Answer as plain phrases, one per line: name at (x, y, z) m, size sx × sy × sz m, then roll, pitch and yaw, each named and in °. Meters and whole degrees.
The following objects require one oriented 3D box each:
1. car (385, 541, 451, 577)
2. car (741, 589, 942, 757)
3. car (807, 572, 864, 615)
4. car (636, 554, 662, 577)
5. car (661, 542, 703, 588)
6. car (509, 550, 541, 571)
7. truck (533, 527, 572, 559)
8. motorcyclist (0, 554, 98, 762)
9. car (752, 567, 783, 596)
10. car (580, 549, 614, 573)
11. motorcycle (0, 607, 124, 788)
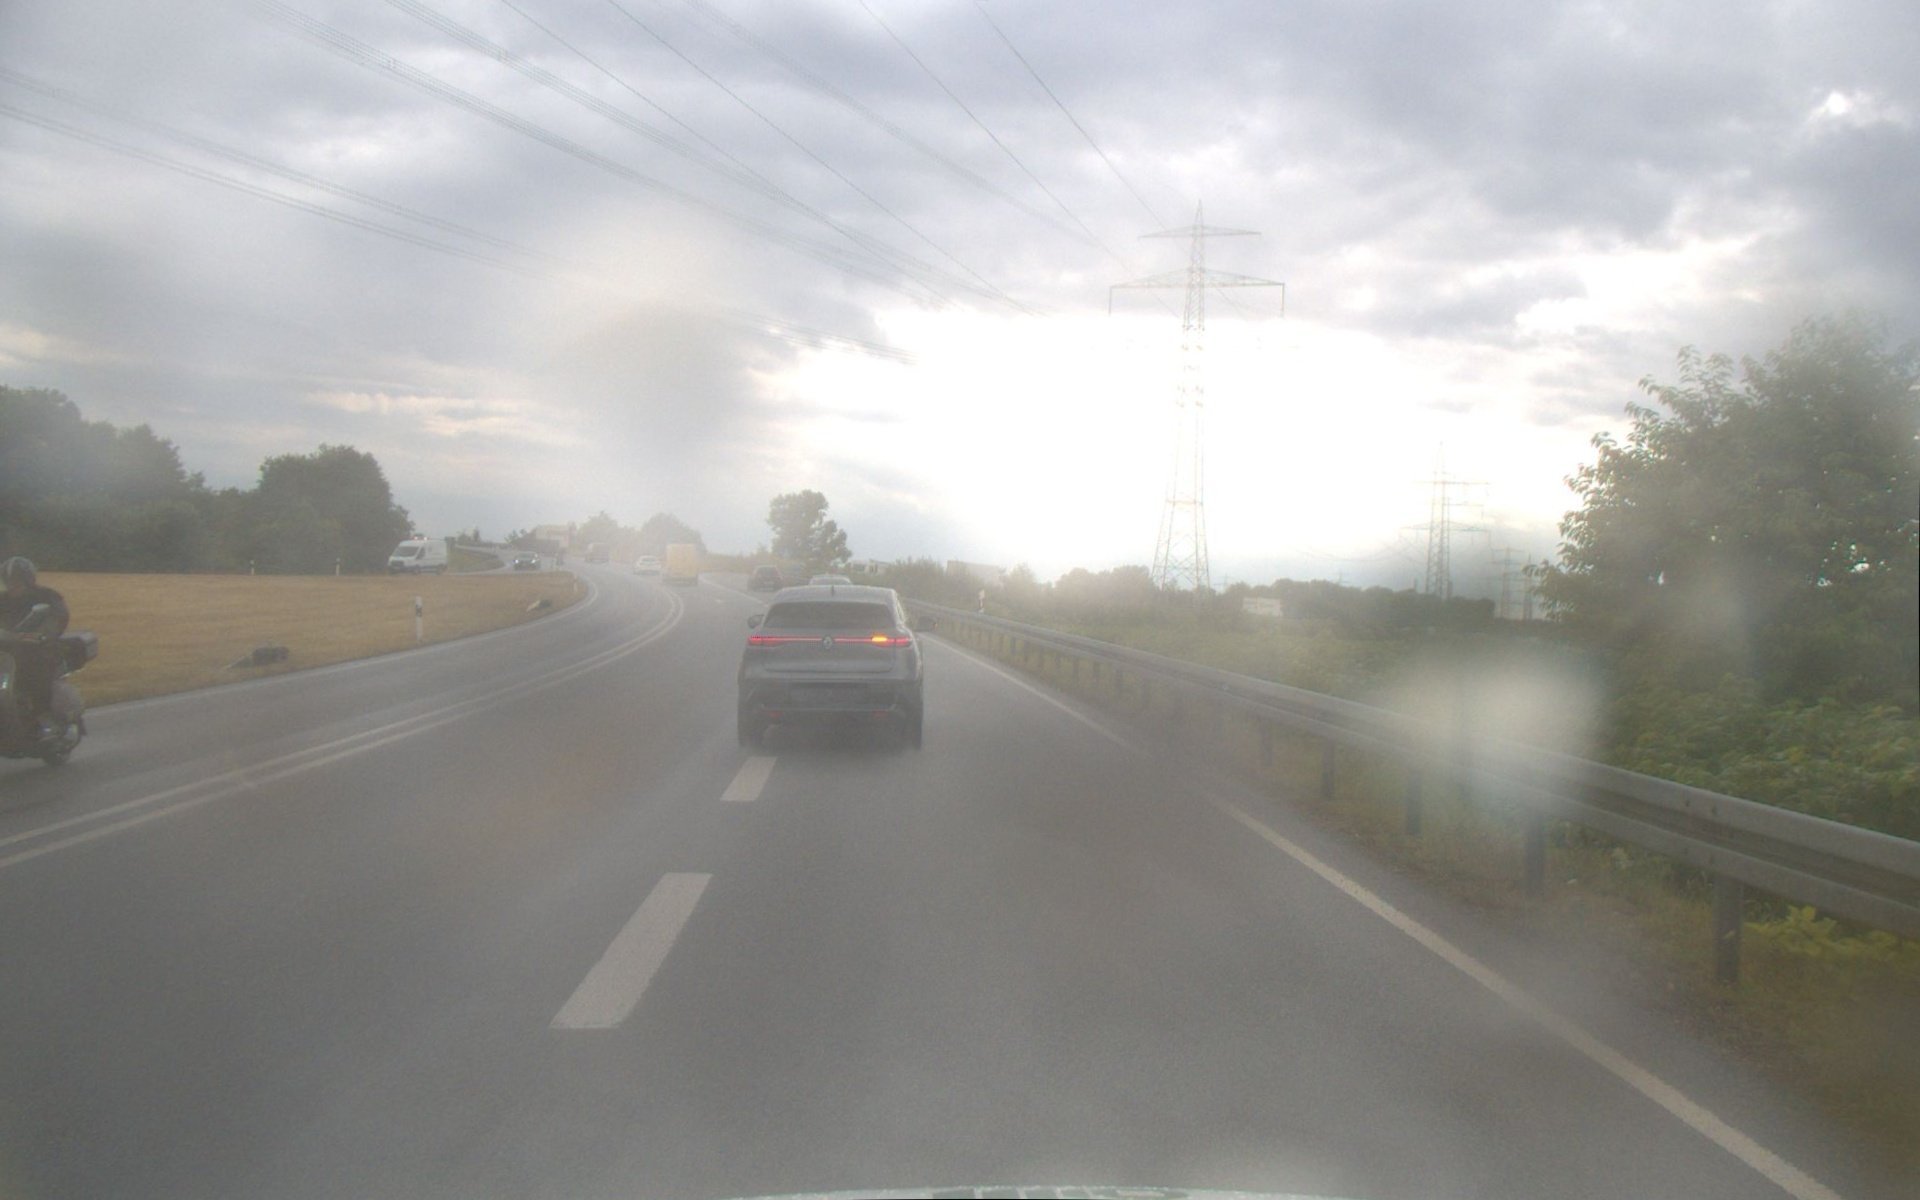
car at (-37.894, -2.859, 115.803) m, size 2.383 × 2.432 × 5.474 m, roll 1°, pitch 1°, yaw 5°
car at (-1.159, 0.637, 16.589) m, size 1.756 × 1.466 × 3.997 m, roll 1°, pitch 0°, yaw -3°
car at (-4.474, -0.250, 59.231) m, size 1.758 × 1.466 × 3.993 m, roll 0°, pitch 1°, yaw -8°
car at (-24.616, -2.774, 130.660) m, size 1.761 × 1.717 × 3.986 m, roll 1°, pitch 2°, yaw -14°
car at (-18.254, -2.239, 108.530) m, size 2.527 × 2.773 × 7.177 m, roll 1°, pitch 0°, yaw -11°
car at (-36.573, -3.310, 139.000) m, size 1.943 × 1.631 × 3.912 m, roll 3°, pitch 1°, yaw -6°
truck at (-47.640, -6.628, 193.240) m, size 3.006 × 3.444 × 7.587 m, roll 1°, pitch -1°, yaw -24°
motorcyclist at (-7.328, 0.429, 12.881) m, size 0.786 × 1.562 × 0.824 m, roll 1°, pitch 0°, yaw -2°
car at (-11.325, -1.068, 97.165) m, size 1.757 × 1.568 × 3.993 m, roll 1°, pitch -1°, yaw -7°
car at (-37.116, -3.948, 168.993) m, size 2.565 × 2.290 × 5.500 m, roll 1°, pitch -1°, yaw -21°
motorcycle at (-7.337, 0.713, 12.680) m, size 0.786 × 1.260 × 2.184 m, roll 1°, pitch 1°, yaw -2°
